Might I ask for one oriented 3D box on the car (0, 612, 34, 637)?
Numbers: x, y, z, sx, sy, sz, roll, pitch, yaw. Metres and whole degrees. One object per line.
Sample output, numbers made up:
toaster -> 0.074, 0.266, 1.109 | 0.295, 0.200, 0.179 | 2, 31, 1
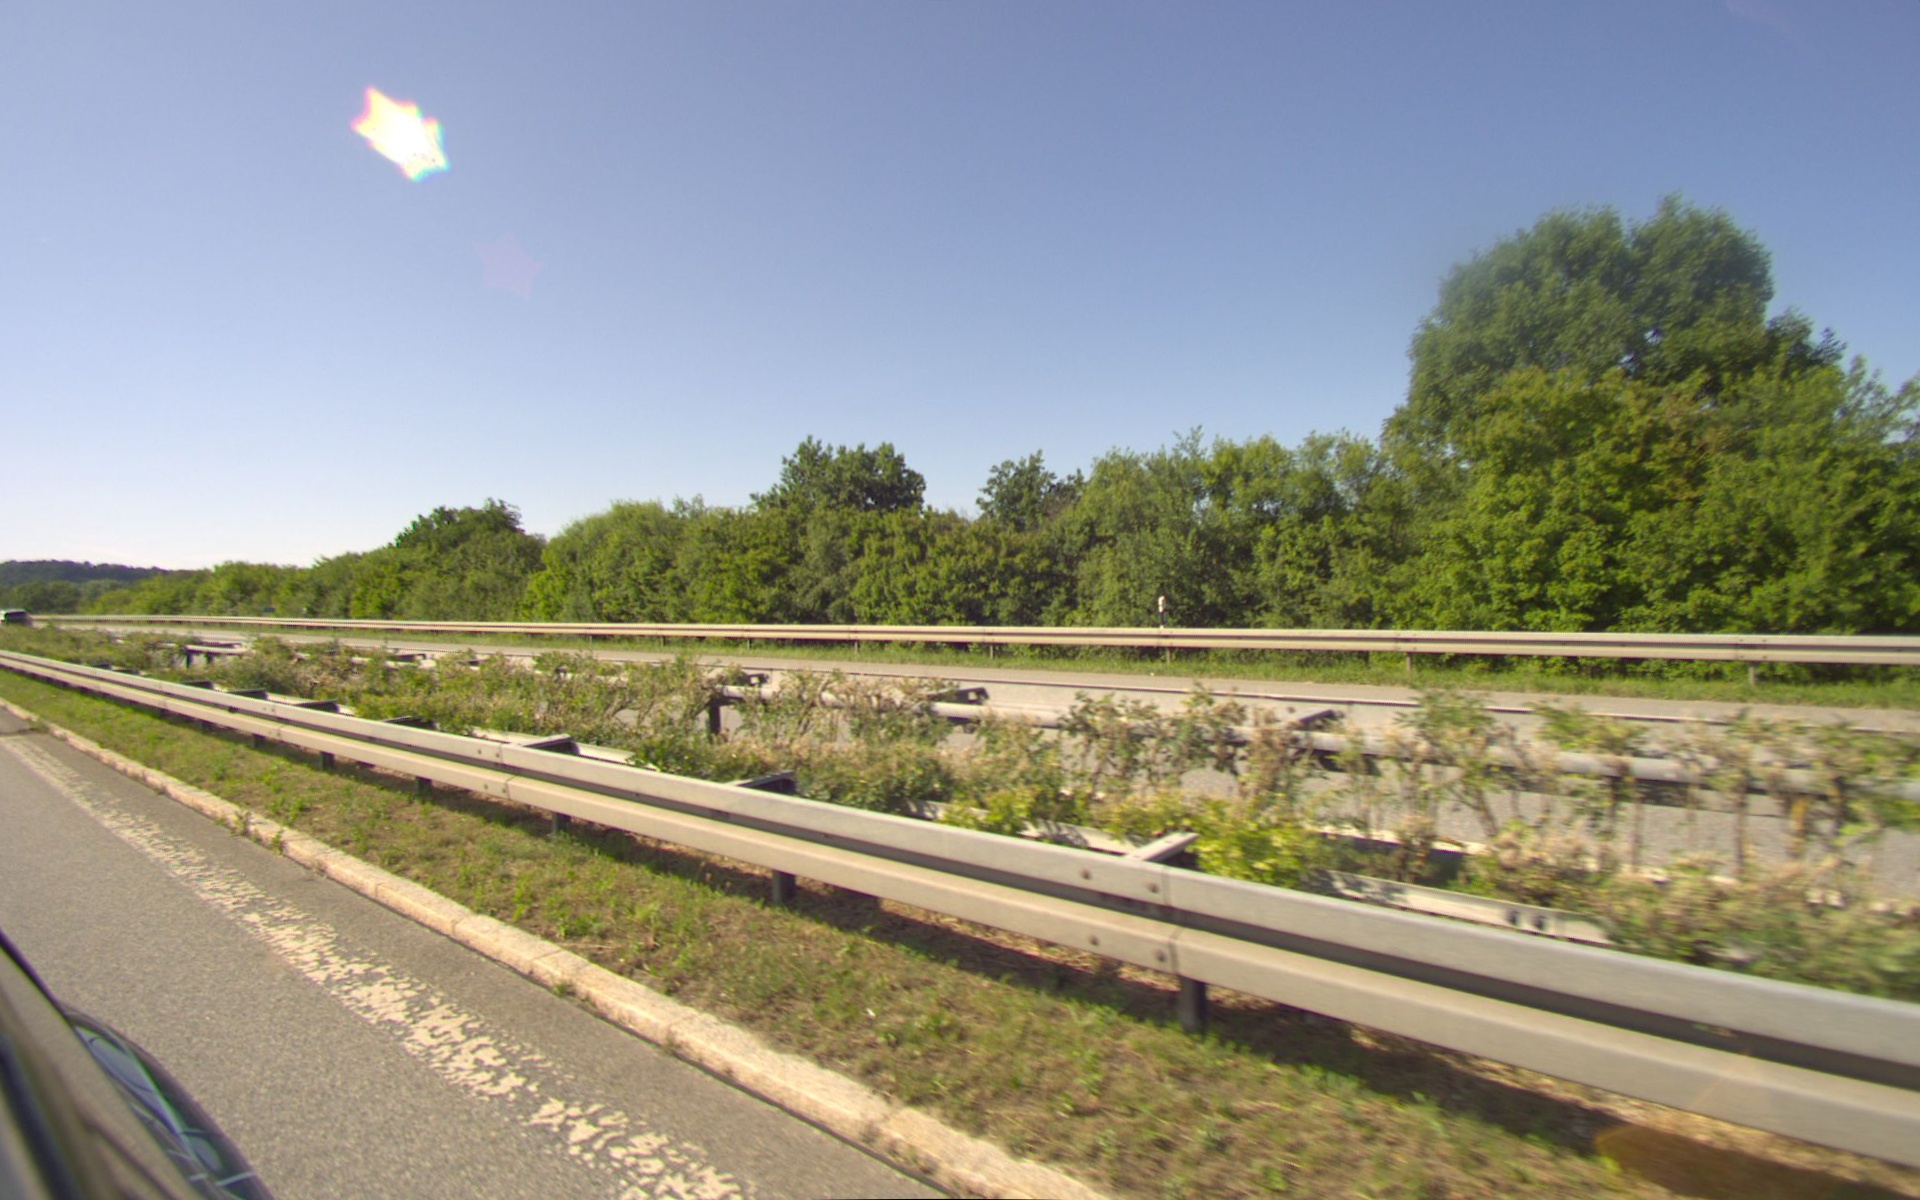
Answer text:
car -> -62.955, 1.614, 66.894 | 4.912, 1.600, 1.891 | -2, -1, 40

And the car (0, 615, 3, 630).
car -> -93.340, 2.185, 97.232 | 4.767, 1.456, 1.720 | -1, 0, 43
